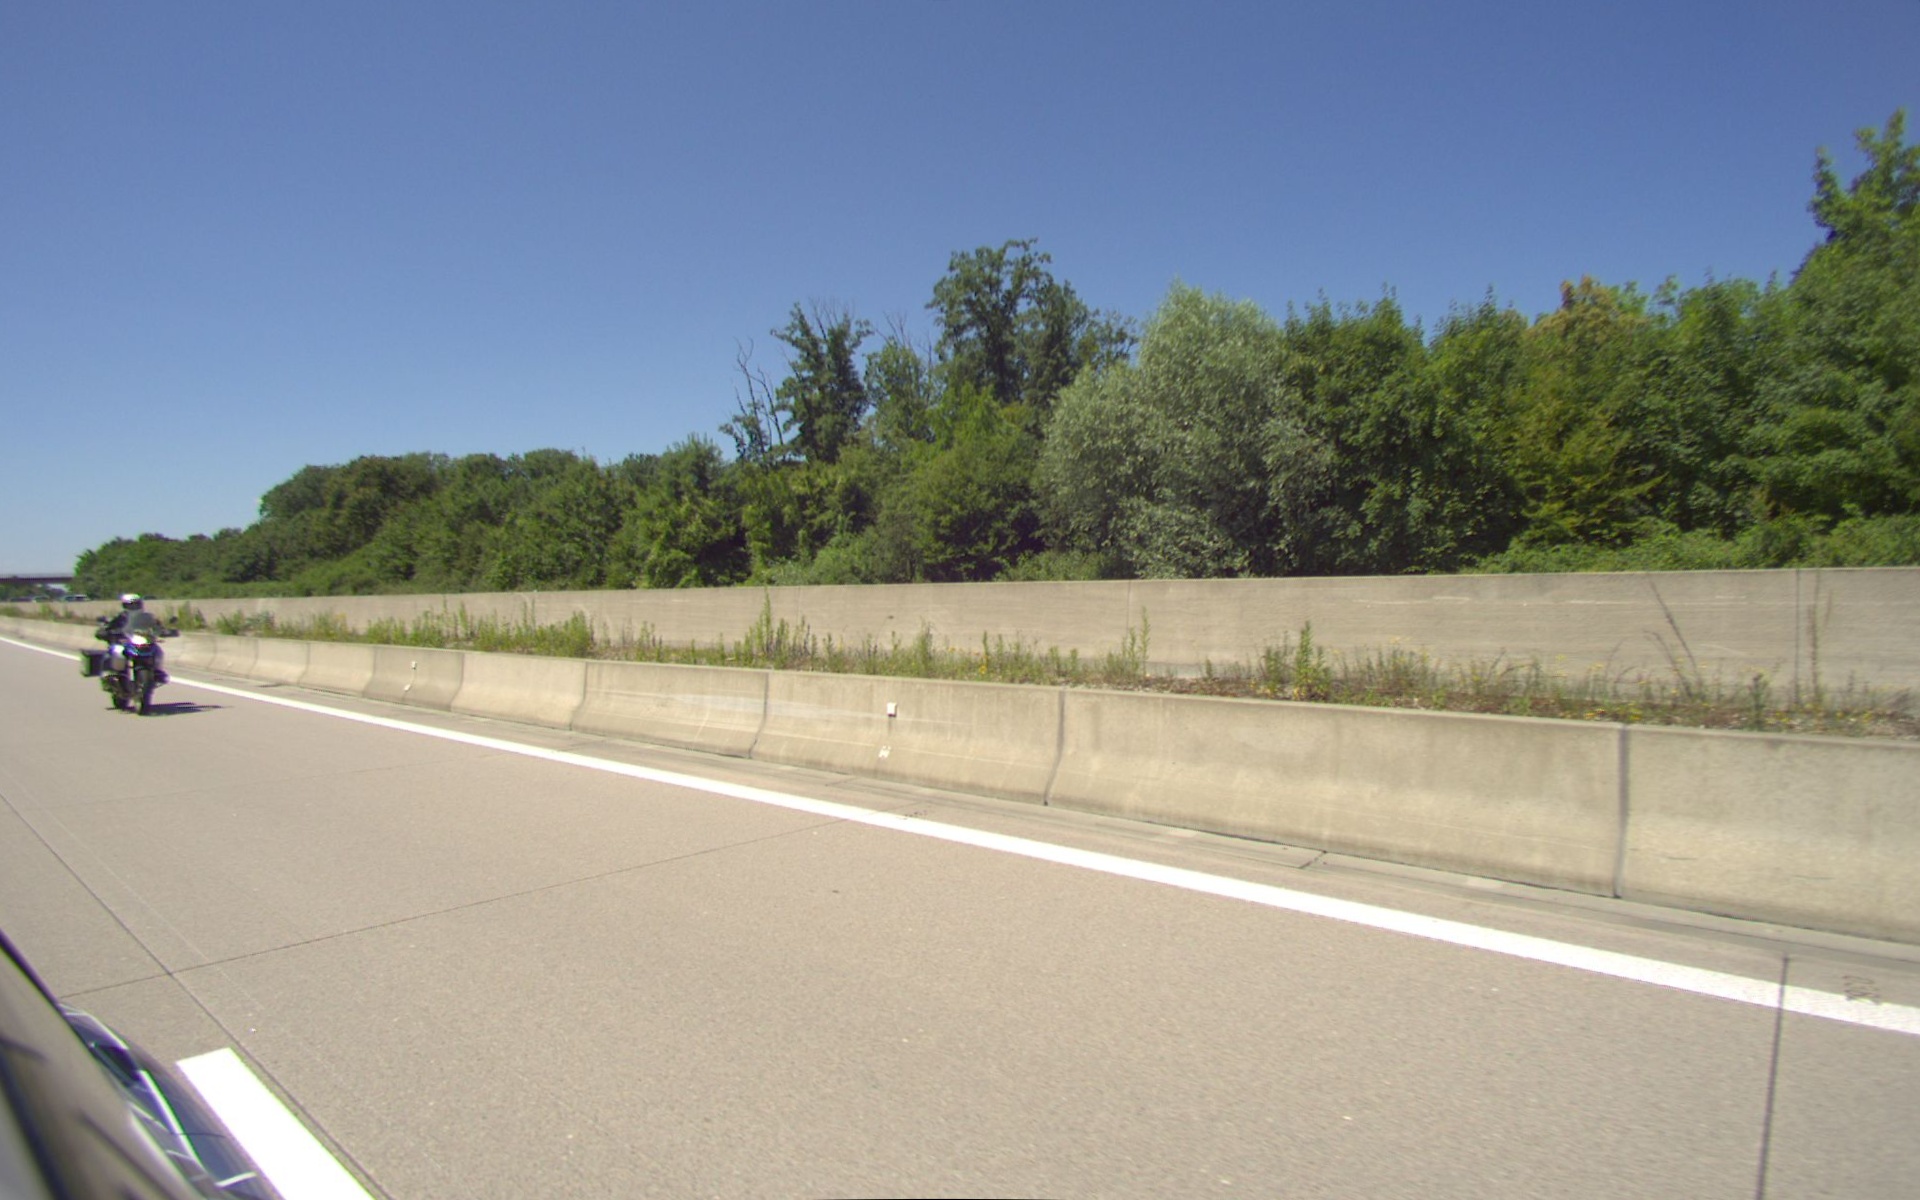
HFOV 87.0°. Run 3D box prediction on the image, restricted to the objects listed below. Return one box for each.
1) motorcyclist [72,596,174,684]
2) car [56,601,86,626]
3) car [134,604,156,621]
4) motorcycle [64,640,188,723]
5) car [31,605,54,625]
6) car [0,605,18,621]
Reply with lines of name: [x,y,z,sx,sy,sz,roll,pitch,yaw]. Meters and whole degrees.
motorcyclist: [-12.140,0.565,14.687,0.911,1.218,1.014,-2,-1,41]
car: [-76.746,1.166,87.363,4.786,2.029,1.417,-1,0,43]
car: [-89.711,1.372,111.437,3.273,1.728,1.417,-1,0,43]
motorcycle: [-12.101,1.131,14.649,2.411,1.056,1.010,-1,-1,41]
car: [-95.659,1.601,105.508,3.520,2.029,1.417,-1,0,43]
car: [-127.141,1.699,135.227,3.652,2.029,1.618,-1,0,43]
